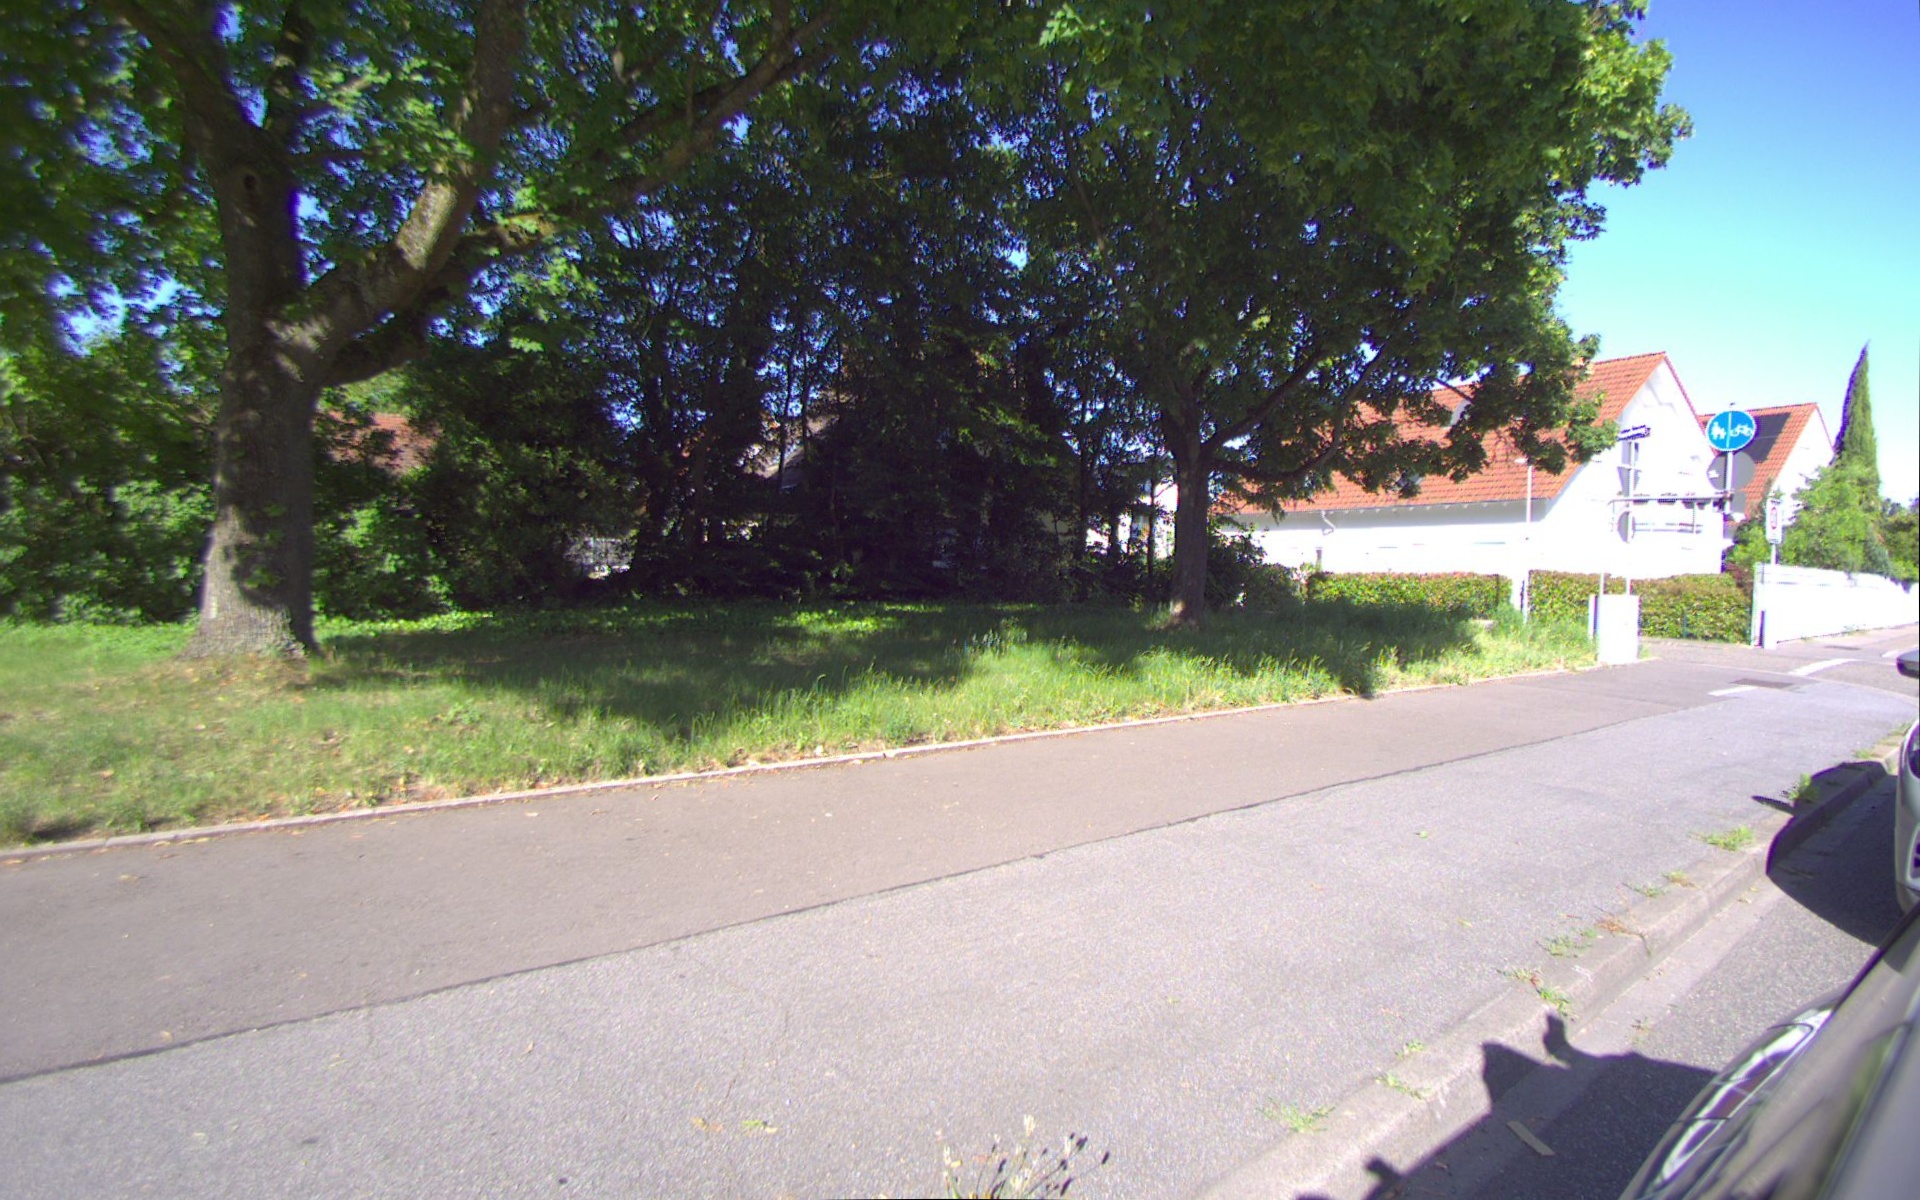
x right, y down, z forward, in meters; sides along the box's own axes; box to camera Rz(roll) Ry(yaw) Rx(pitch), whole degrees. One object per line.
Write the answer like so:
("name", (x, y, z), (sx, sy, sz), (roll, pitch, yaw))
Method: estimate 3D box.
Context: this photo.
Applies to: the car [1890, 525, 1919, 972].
("car", (5.789, 0.583, 4.556), (4.133, 1.710, 1.857), (-1, 3, -41))
